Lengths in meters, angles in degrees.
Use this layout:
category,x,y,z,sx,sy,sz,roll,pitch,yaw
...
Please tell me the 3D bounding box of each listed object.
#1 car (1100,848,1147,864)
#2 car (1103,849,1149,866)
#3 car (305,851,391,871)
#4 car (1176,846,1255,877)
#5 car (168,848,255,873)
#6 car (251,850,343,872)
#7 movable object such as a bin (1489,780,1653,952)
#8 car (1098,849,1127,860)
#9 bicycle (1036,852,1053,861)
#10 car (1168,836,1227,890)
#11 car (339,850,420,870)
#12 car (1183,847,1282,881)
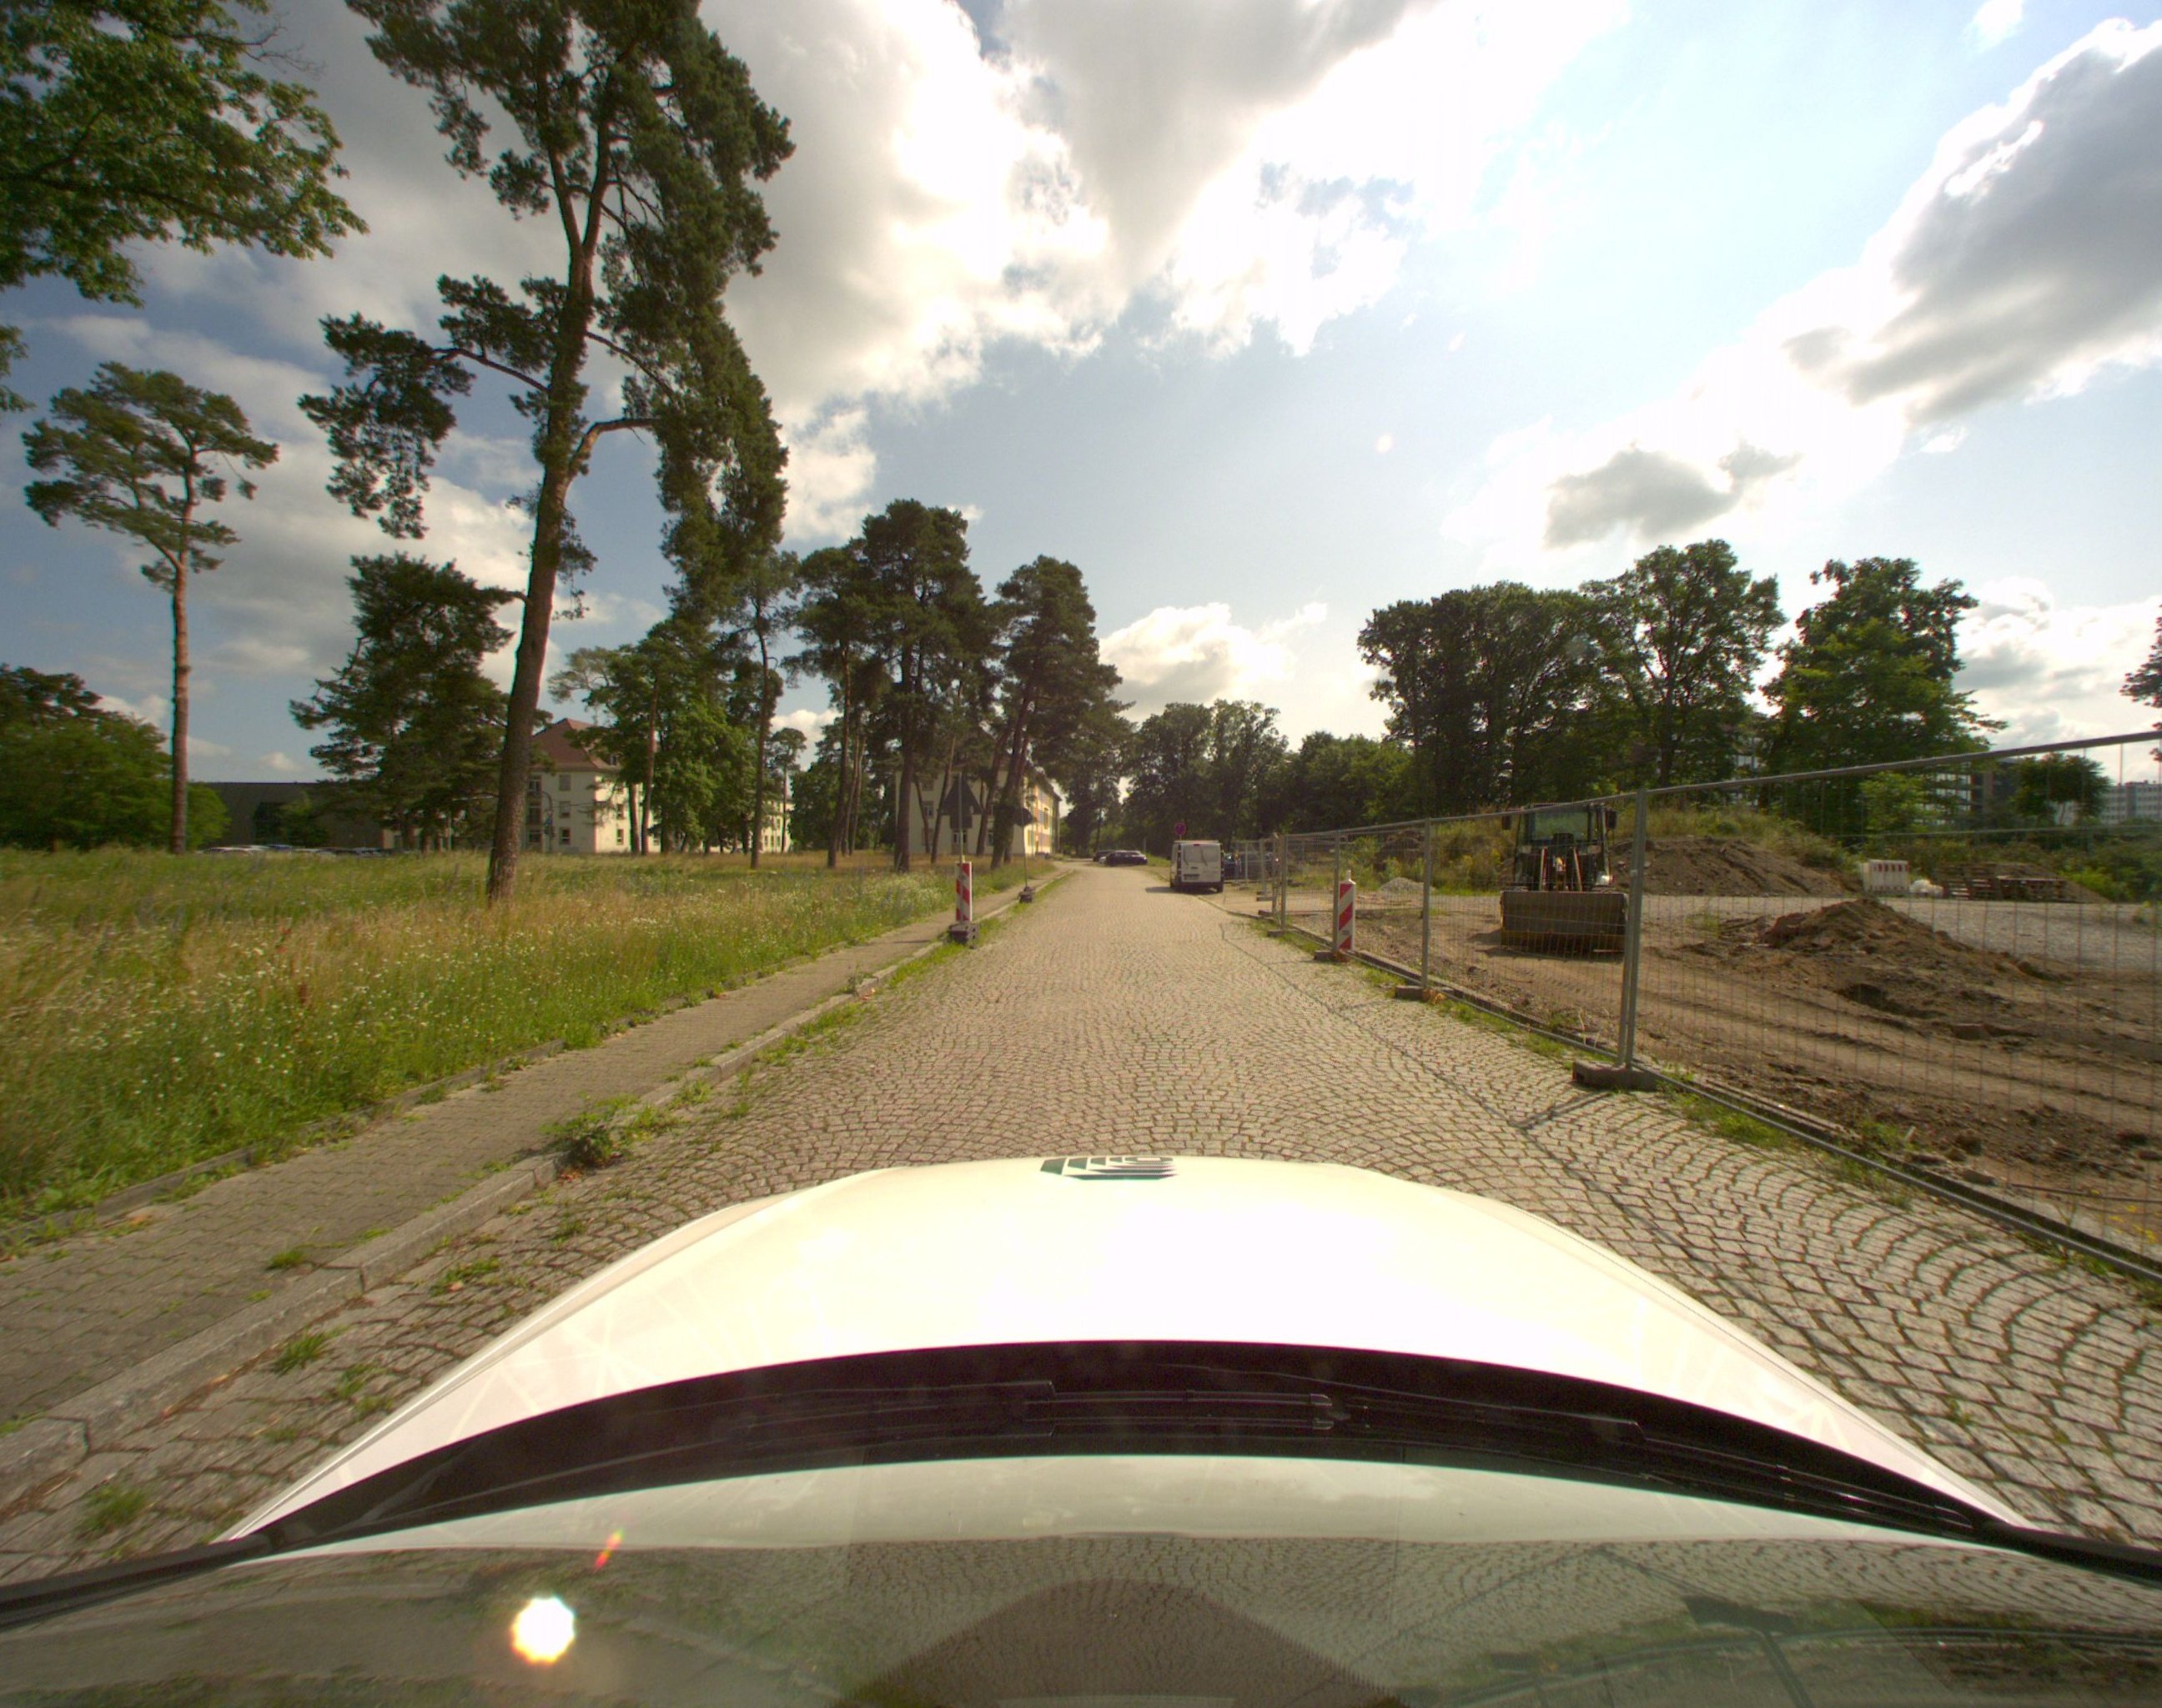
category,x,y,z,sx,sy,sz,roll,pitch,yaw
car,4.370,0.247,84.223,4.846,1.472,1.874,-2,1,0
car,4.456,0.301,81.135,4.319,1.500,1.826,-2,1,-7
car,-49.706,0.453,55.259,4.052,1.320,1.901,-1,0,0
car,7.274,0.397,44.282,3.975,1.507,1.746,-2,0,-1
car,-61.371,0.451,57.539,4.052,1.702,1.901,-1,0,0
car,-50.462,0.448,52.450,4.052,1.339,1.901,-1,0,0
movable object such as a bin,8.862,0.116,14.890,2.122,2.521,5.692,-1,1,30
car,4.654,0.058,119.720,4.169,1.543,1.822,-2,-1,3
bicycle,-4.931,0.326,108.957,2.212,1.260,0.624,-1,0,4
car,4.709,0.334,33.727,1.906,2.053,5.683,-1,0,3
car,-49.593,0.413,57.636,4.052,1.309,1.901,-1,0,0
car,7.307,0.486,39.608,4.443,1.475,1.744,-2,0,-3
